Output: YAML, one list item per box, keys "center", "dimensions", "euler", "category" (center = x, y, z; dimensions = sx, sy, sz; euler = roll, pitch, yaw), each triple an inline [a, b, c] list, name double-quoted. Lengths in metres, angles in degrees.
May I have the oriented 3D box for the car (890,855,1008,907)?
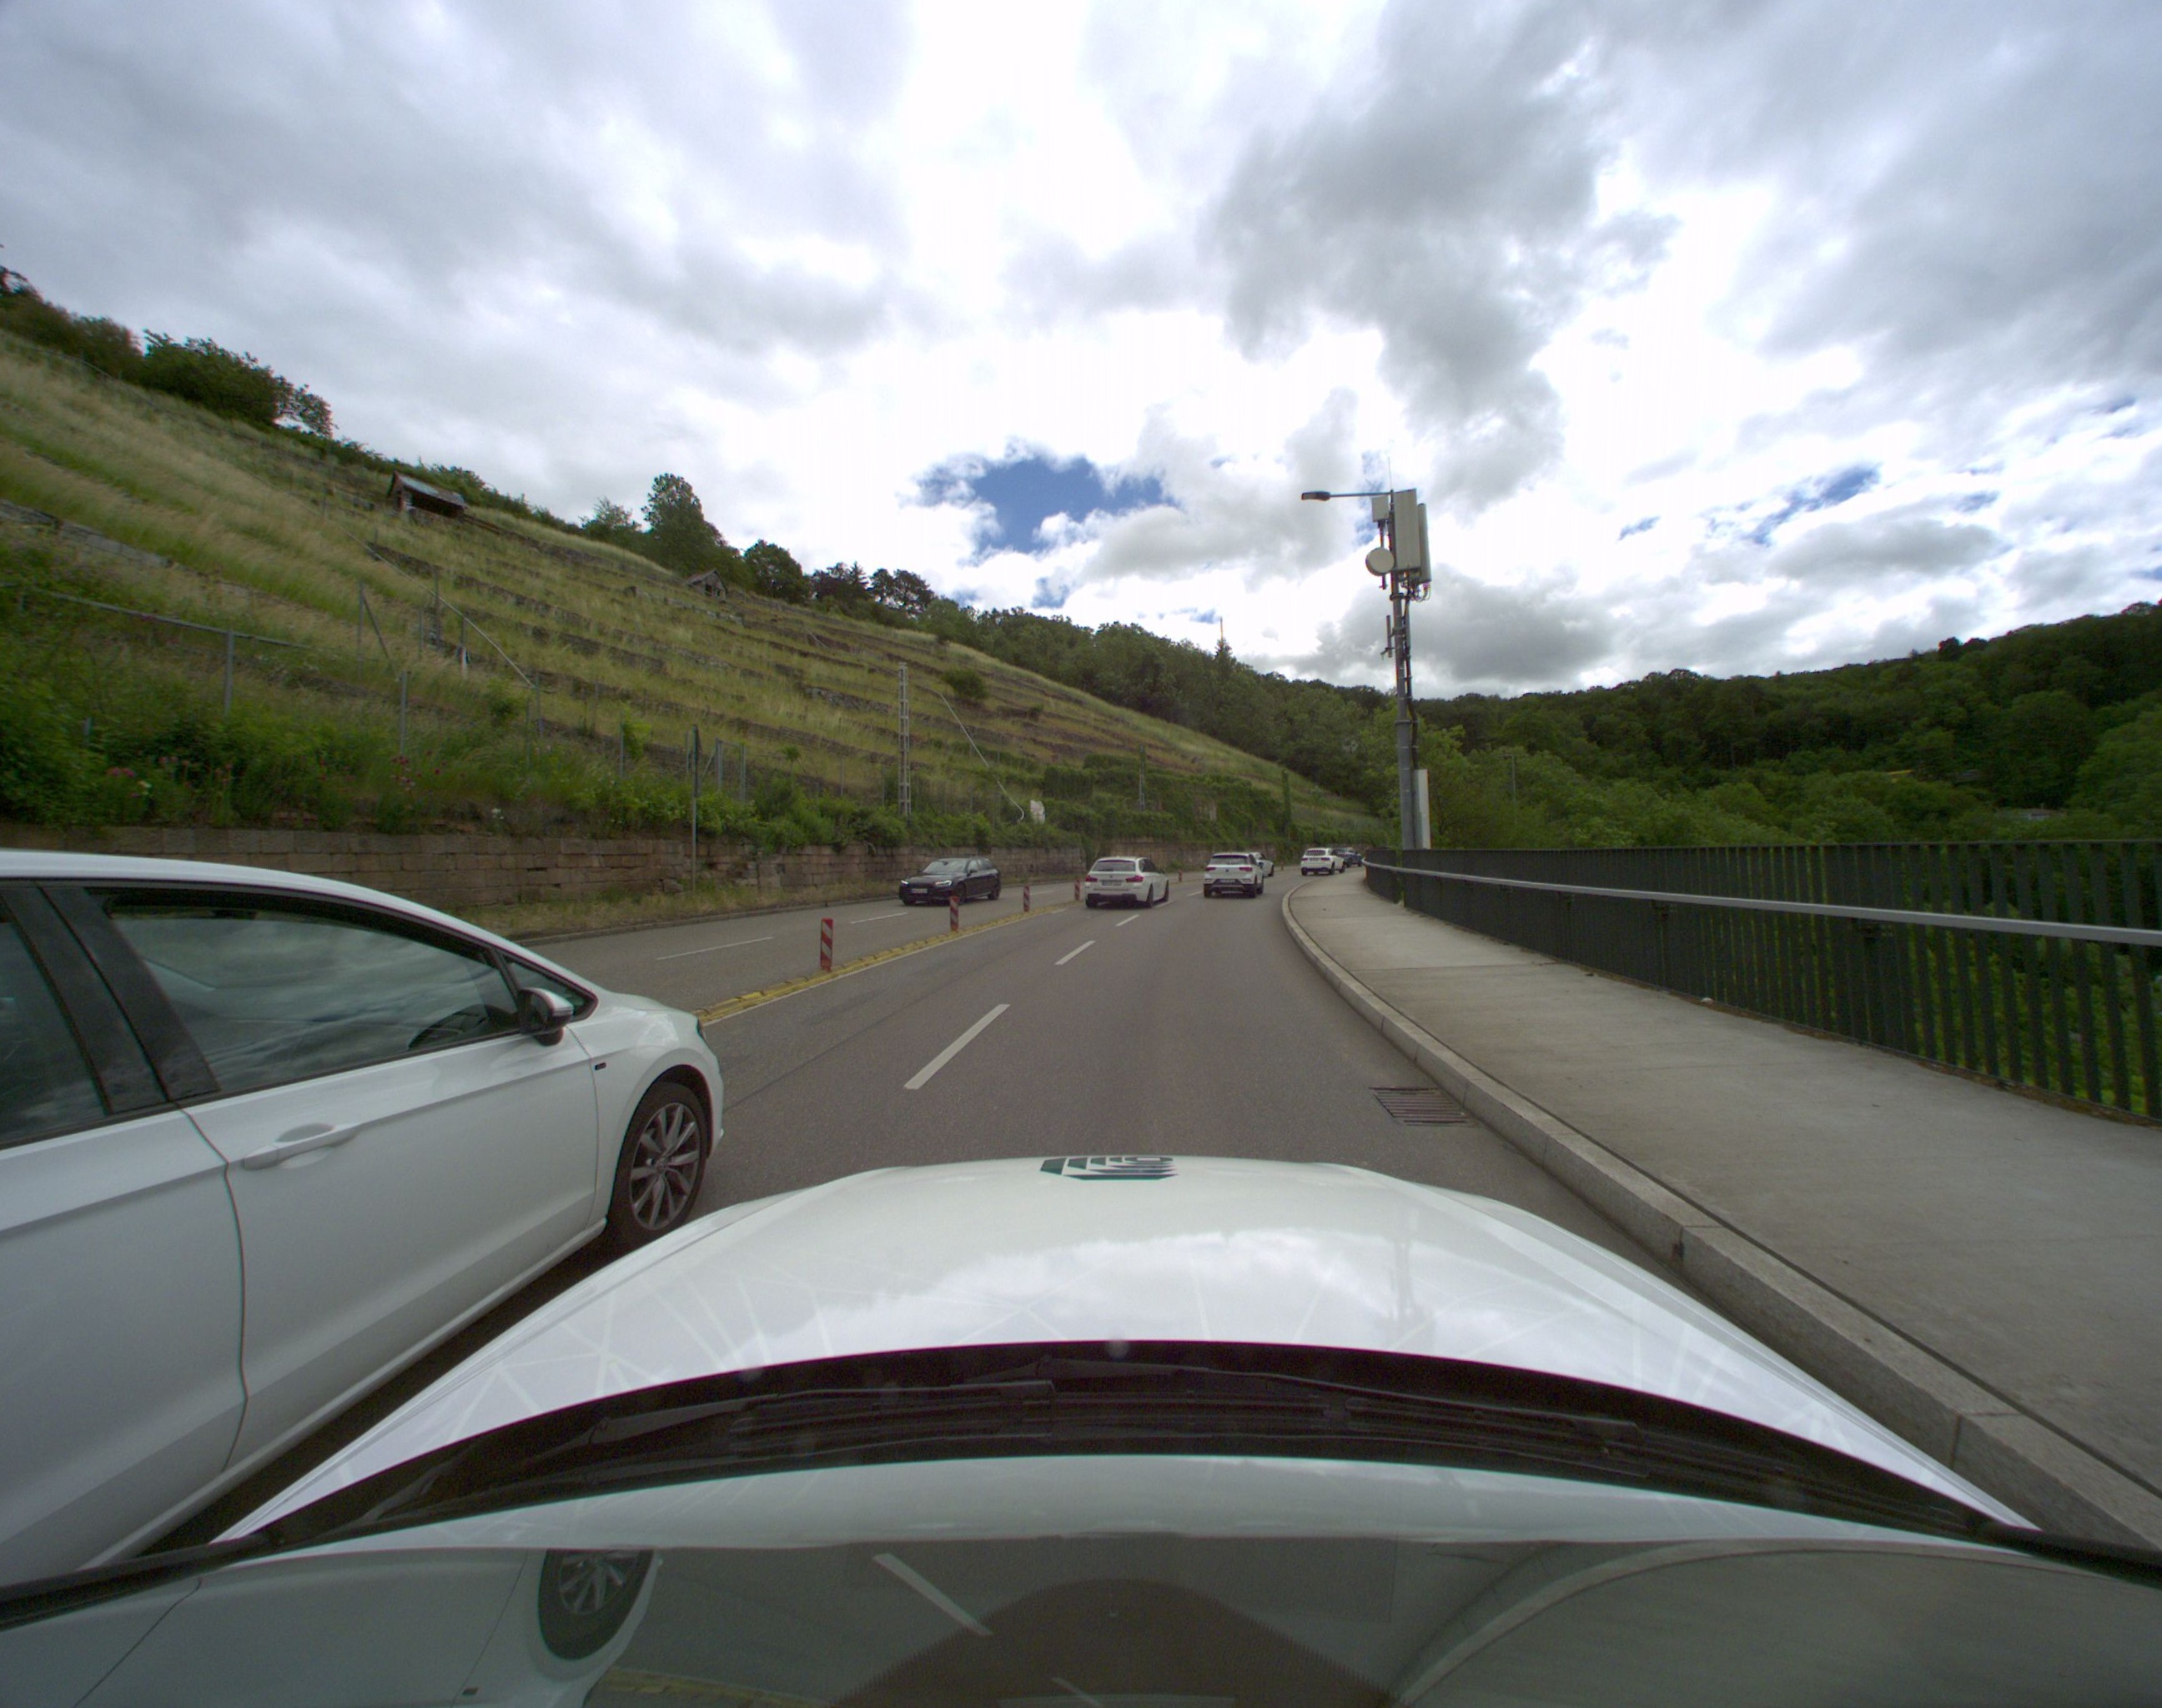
- center: [-3.962, 0.748, 25.234]
  dimensions: [1.836, 1.413, 4.435]
  euler: [0, 0, 17]
  category: "car"

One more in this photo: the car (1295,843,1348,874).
- center: [14.598, 0.328, 49.288]
  dimensions: [1.974, 1.718, 4.139]
  euler: [-4, -3, 31]
  category: "car"

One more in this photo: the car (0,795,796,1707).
- center: [-2.502, 0.705, 1.988]
  dimensions: [1.813, 1.580, 4.361]
  euler: [0, 0, 4]
  category: "car"

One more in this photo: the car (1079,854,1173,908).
- center: [1.444, 0.730, 24.289]
  dimensions: [1.814, 1.460, 4.505]
  euler: [0, 0, 16]
  category: "car"

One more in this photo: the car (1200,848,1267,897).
- center: [5.498, 0.594, 29.019]
  dimensions: [1.813, 1.605, 4.018]
  euler: [1, 1, 17]
  category: "car"

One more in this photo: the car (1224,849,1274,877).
- center: [9.587, 0.495, 46.184]
  dimensions: [1.976, 1.503, 4.692]
  euler: [-1, -1, 22]
  category: "car"

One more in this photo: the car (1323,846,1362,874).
- center: [20.614, 0.489, 64.074]
  dimensions: [1.974, 2.014, 4.025]
  euler: [-5, -2, 30]
  category: "car"
